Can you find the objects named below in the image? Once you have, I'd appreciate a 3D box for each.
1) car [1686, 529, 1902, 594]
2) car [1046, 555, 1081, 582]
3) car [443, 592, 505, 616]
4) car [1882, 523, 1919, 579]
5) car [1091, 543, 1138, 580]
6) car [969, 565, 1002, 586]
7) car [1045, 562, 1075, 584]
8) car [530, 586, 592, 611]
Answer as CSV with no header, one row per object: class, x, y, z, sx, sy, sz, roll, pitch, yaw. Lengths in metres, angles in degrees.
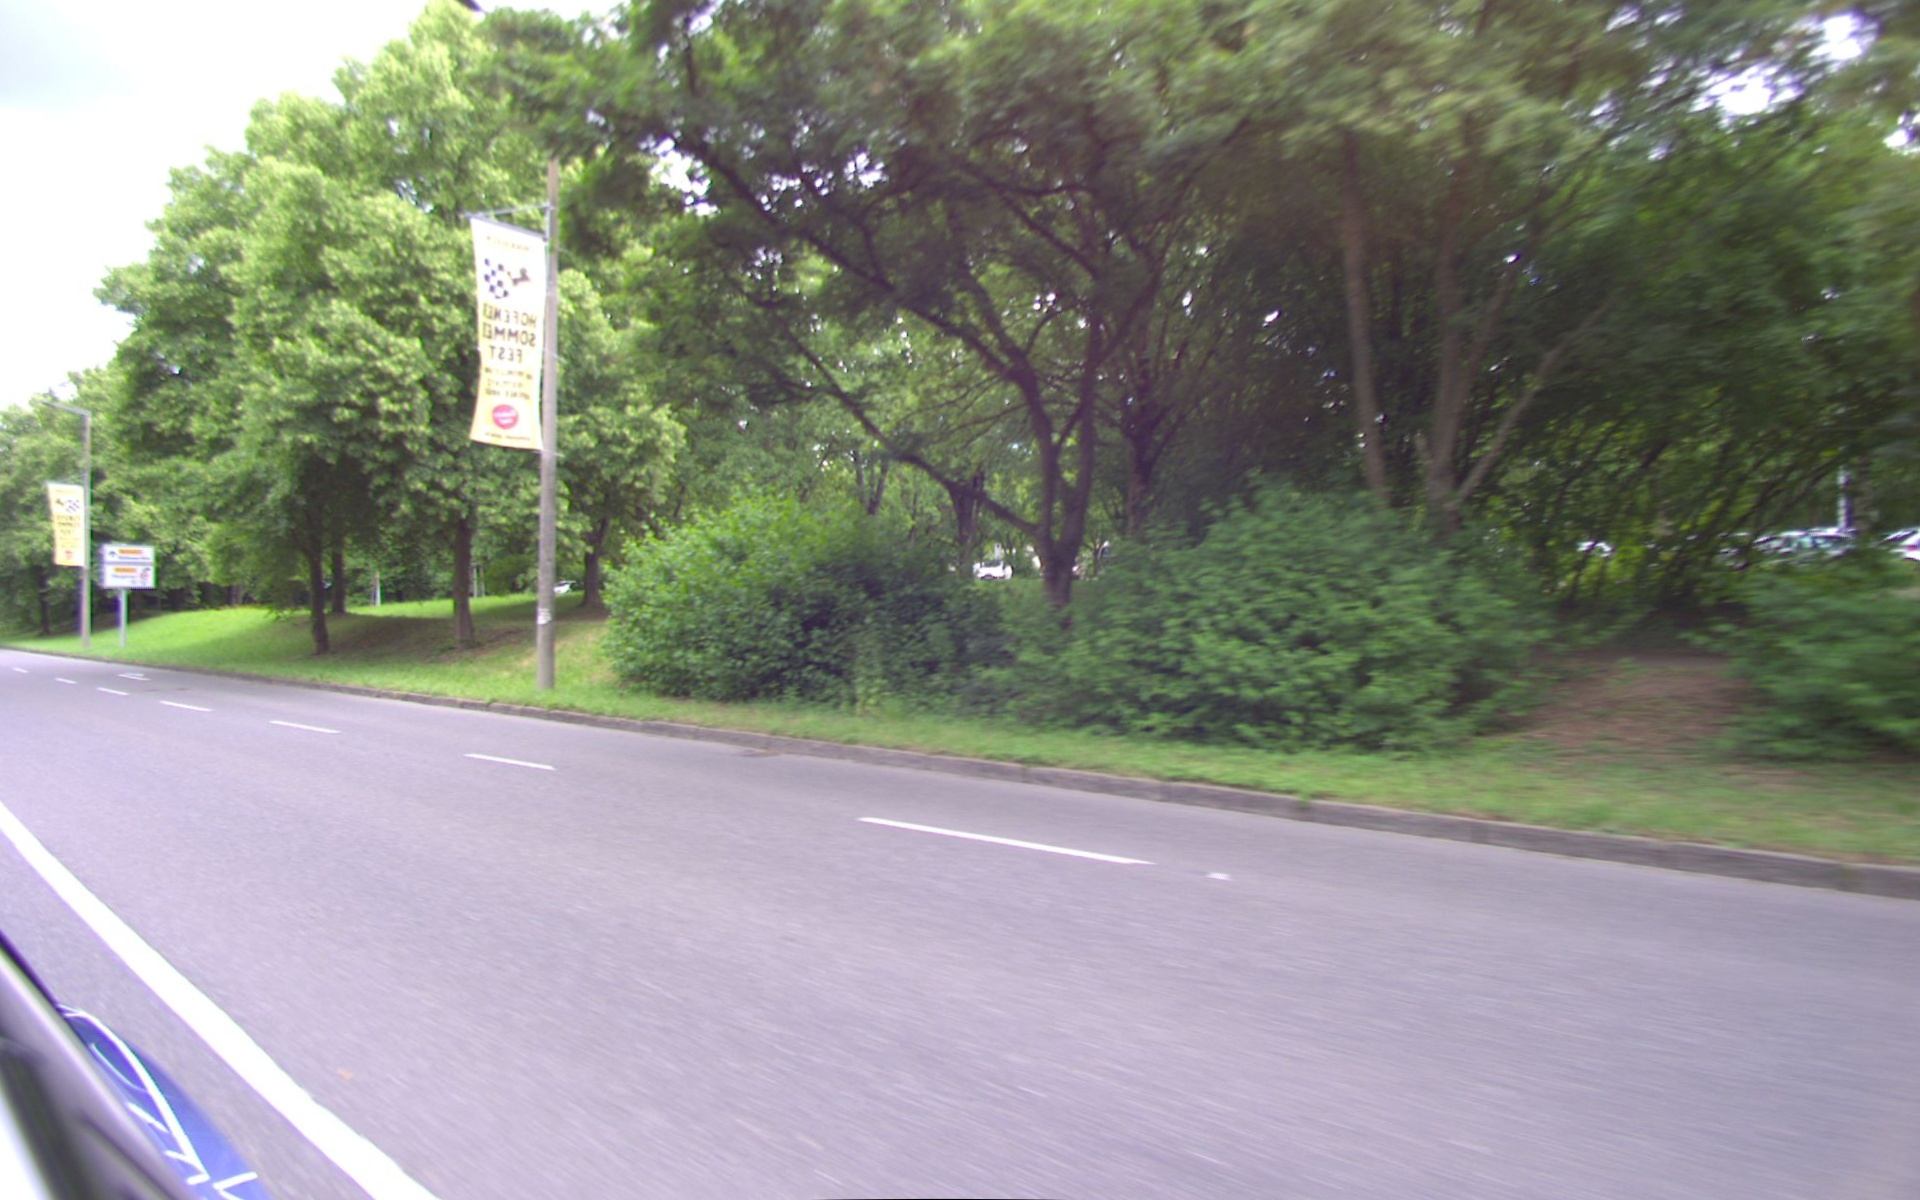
car,21.581,-0.962,26.377,3.966,1.497,1.642,-1,0,18
car,5.282,-1.581,51.369,1.386,1.219,3.495,-1,0,13
car,-40.322,0.301,84.071,1.980,1.910,4.883,-1,0,14
car,28.076,-1.378,27.582,3.966,1.497,1.642,-1,0,18
car,7.800,-1.878,50.847,1.739,1.696,4.092,-1,0,17
car,1.651,-1.542,64.615,1.386,1.243,3.495,-1,0,13
car,6.202,-1.644,62.685,1.386,1.243,3.495,-1,0,13
car,-32.253,-0.165,81.993,2.298,1.910,4.883,-1,0,14
